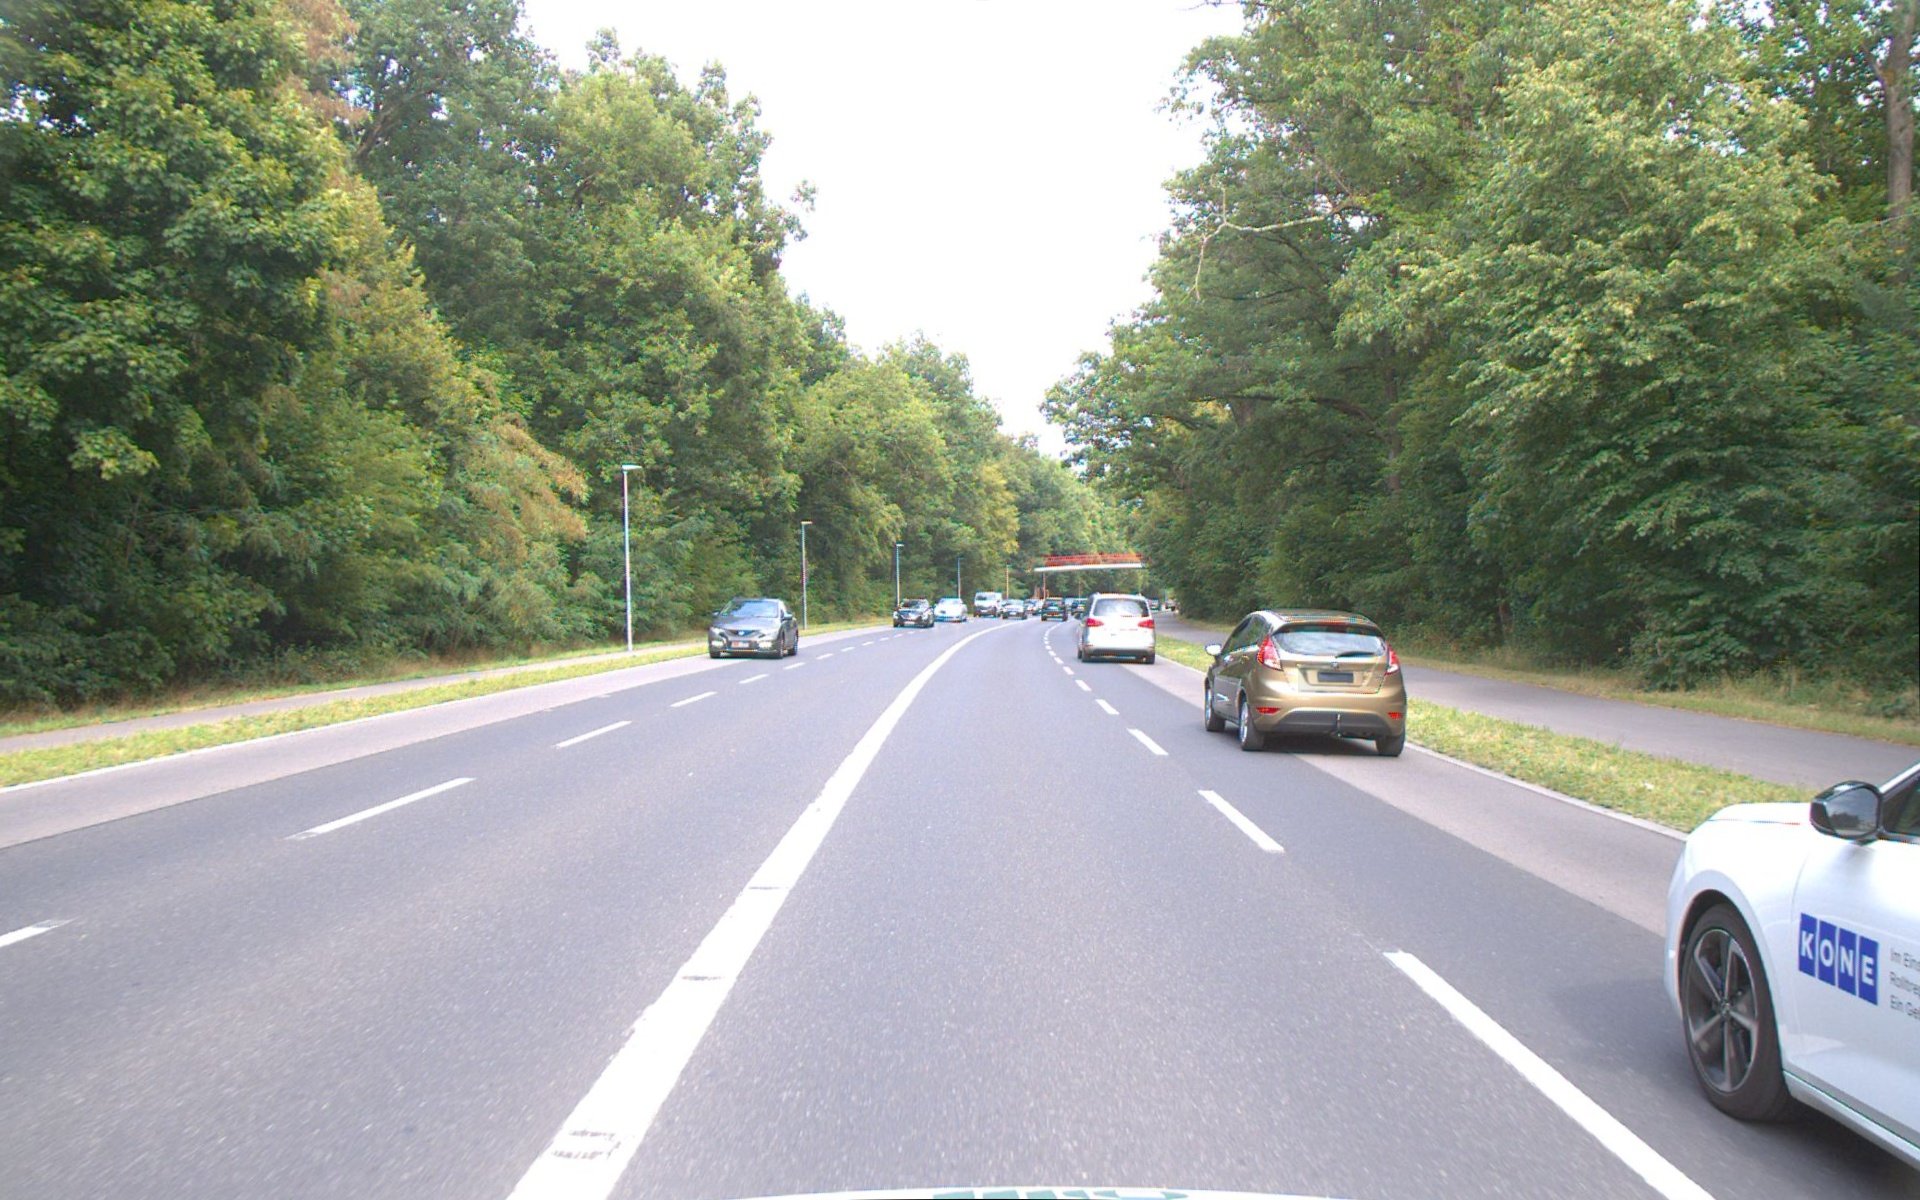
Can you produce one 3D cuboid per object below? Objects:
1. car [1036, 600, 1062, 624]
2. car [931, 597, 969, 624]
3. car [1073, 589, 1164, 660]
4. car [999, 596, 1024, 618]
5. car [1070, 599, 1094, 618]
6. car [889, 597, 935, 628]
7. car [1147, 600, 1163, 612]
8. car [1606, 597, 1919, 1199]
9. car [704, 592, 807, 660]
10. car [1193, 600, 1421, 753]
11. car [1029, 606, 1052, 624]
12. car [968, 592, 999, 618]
[{"bbox_3d":[6.453,0.874,119.211,1.693,1.615,4.002,2,-1,5],"label":"car"},{"bbox_3d":[-0.602,0.686,105.586,1.951,1.590,4.606,2,-1,5],"label":"car"},{"bbox_3d":[3.976,0.623,42.039,1.952,1.635,4.000,2,-1,1],"label":"car"},{"bbox_3d":[3.855,0.554,123.721,1.621,1.512,3.868,2,-1,5],"label":"car"},{"bbox_3d":[11.709,0.819,158.476,1.951,1.727,4.003,2,-1,8],"label":"car"},{"bbox_3d":[-2.452,0.677,85.448,1.841,1.468,4.405,2,-1,5],"label":"car"},{"bbox_3d":[27.300,0.856,231.552,1.951,1.736,4.003,0,0,10],"label":"car"},{"bbox_3d":[3.182,0.736,3.632,1.798,1.434,4.491,0,1,0],"label":"car"},{"bbox_3d":[-4.983,0.644,40.889,1.857,1.510,4.538,2,-1,1],"label":"car"},{"bbox_3d":[3.696,0.781,18.251,1.602,1.445,3.999,2,-1,-1],"label":"car"},{"bbox_3d":[7.513,1.413,154.390,1.845,1.504,4.521,2,-1,6],"label":"car"},{"bbox_3d":[1.908,0.406,133.703,1.951,2.049,5.057,0,-1,8],"label":"car"}]
